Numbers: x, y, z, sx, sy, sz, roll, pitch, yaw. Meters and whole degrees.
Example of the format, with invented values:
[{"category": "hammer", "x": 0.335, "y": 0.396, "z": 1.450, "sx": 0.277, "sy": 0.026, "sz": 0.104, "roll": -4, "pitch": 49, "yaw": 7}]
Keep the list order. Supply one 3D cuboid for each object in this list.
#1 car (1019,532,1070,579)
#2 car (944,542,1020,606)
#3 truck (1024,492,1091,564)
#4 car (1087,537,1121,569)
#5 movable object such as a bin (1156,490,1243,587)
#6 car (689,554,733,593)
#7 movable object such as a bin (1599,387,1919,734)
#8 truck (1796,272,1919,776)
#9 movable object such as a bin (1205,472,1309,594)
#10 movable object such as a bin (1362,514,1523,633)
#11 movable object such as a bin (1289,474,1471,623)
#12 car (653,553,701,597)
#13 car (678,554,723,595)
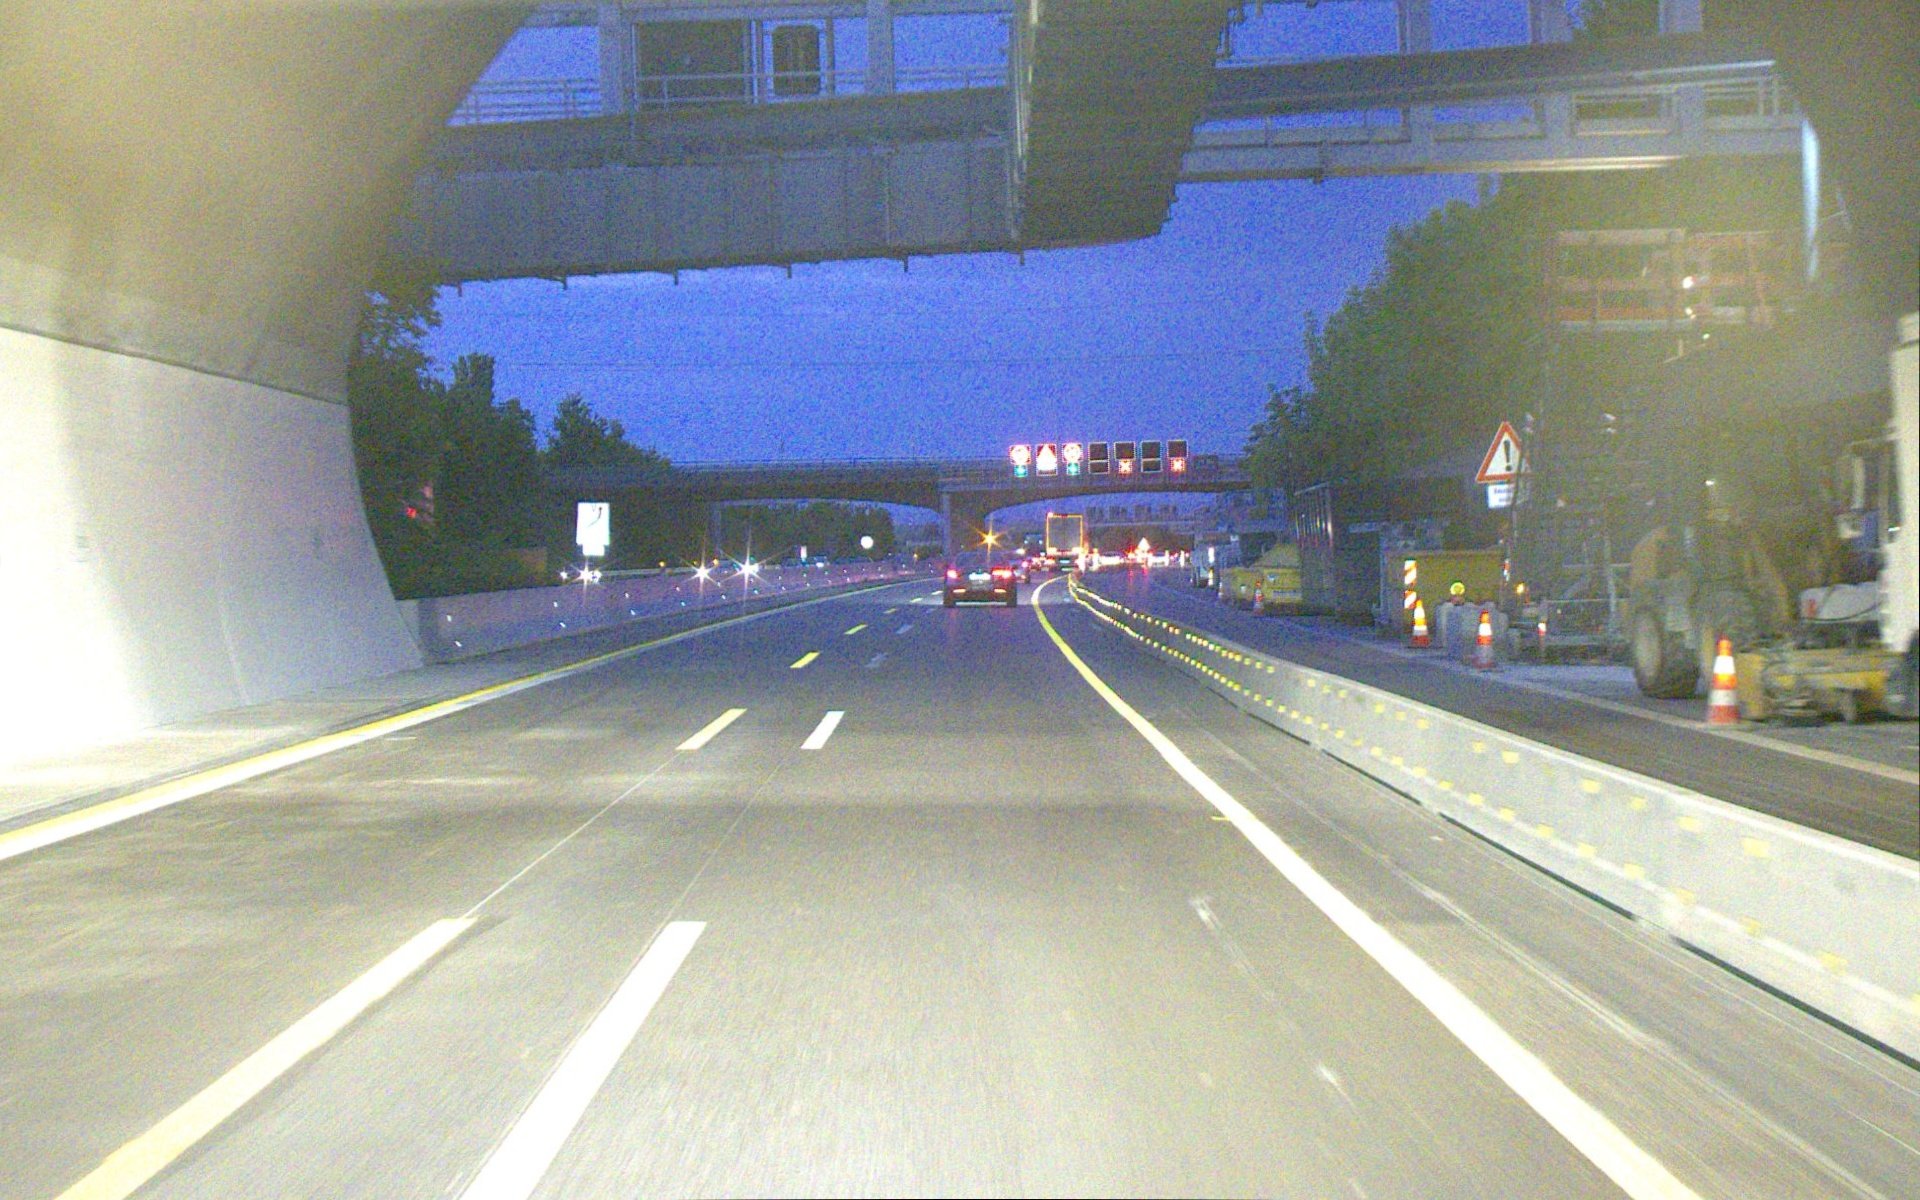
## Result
[{"category": "car", "x": 3.685, "y": -1.931, "z": 149.214, "sx": 1.994, "sy": 2.007, "sz": 3.999, "roll": 0, "pitch": 1, "yaw": 5}, {"category": "car", "x": 0.536, "y": -0.675, "z": 88.015, "sx": 1.888, "sy": 1.601, "sz": 4.000, "roll": 0, "pitch": 1, "yaw": 0}, {"category": "truck", "x": 6.831, "y": -5.032, "z": 242.982, "sx": 4.546, "sy": 4.970, "sz": 9.599, "roll": 0, "pitch": 1, "yaw": 1}, {"category": "car", "x": 9.000, "y": -2.942, "z": 214.453, "sx": 1.993, "sy": 2.007, "sz": 4.000, "roll": 0, "pitch": 1, "yaw": 1}, {"category": "movable object such as a bin", "x": 8.696, "y": -2.234, "z": 125.357, "sx": 2.737, "sy": 3.443, "sz": 6.946, "roll": 0, "pitch": 1, "yaw": 1}, {"category": "car", "x": -12.921, "y": -1.371, "z": 178.617, "sx": 1.993, "sy": 2.007, "sz": 4.000, "roll": 0, "pitch": 1, "yaw": 0}, {"category": "movable object such as a bin", "x": 7.627, "y": -0.357, "z": 31.246, "sx": 2.238, "sy": 2.784, "sz": 7.233, "roll": 0, "pitch": 1, "yaw": -1}, {"category": "truck", "x": 7.661, "y": -0.480, "z": 21.202, "sx": 2.892, "sy": 3.261, "sz": 8.401, "roll": 0, "pitch": 1, "yaw": -1}, {"category": "movable object such as a bin", "x": 9.138, "y": -2.047, "z": 106.304, "sx": 2.737, "sy": 3.666, "sz": 6.333, "roll": 0, "pitch": 1, "yaw": 1}, {"category": "movable object such as a bin", "x": 7.566, "y": -0.422, "z": 54.224, "sx": 1.978, "sy": 1.809, "sz": 3.837, "roll": 0, "pitch": 1, "yaw": 0}, {"category": "movable object such as a bin", "x": 8.083, "y": -0.984, "z": 66.919, "sx": 2.737, "sy": 2.744, "sz": 7.049, "roll": 0, "pitch": 1, "yaw": 1}, {"category": "car", "x": -13.295, "y": -1.180, "z": 161.598, "sx": 1.993, "sy": 2.007, "sz": 4.000, "roll": 0, "pitch": 1, "yaw": 0}, {"category": "car", "x": -12.959, "y": -1.293, "z": 171.693, "sx": 1.993, "sy": 2.007, "sz": 4.000, "roll": 0, "pitch": 1, "yaw": 0}]
